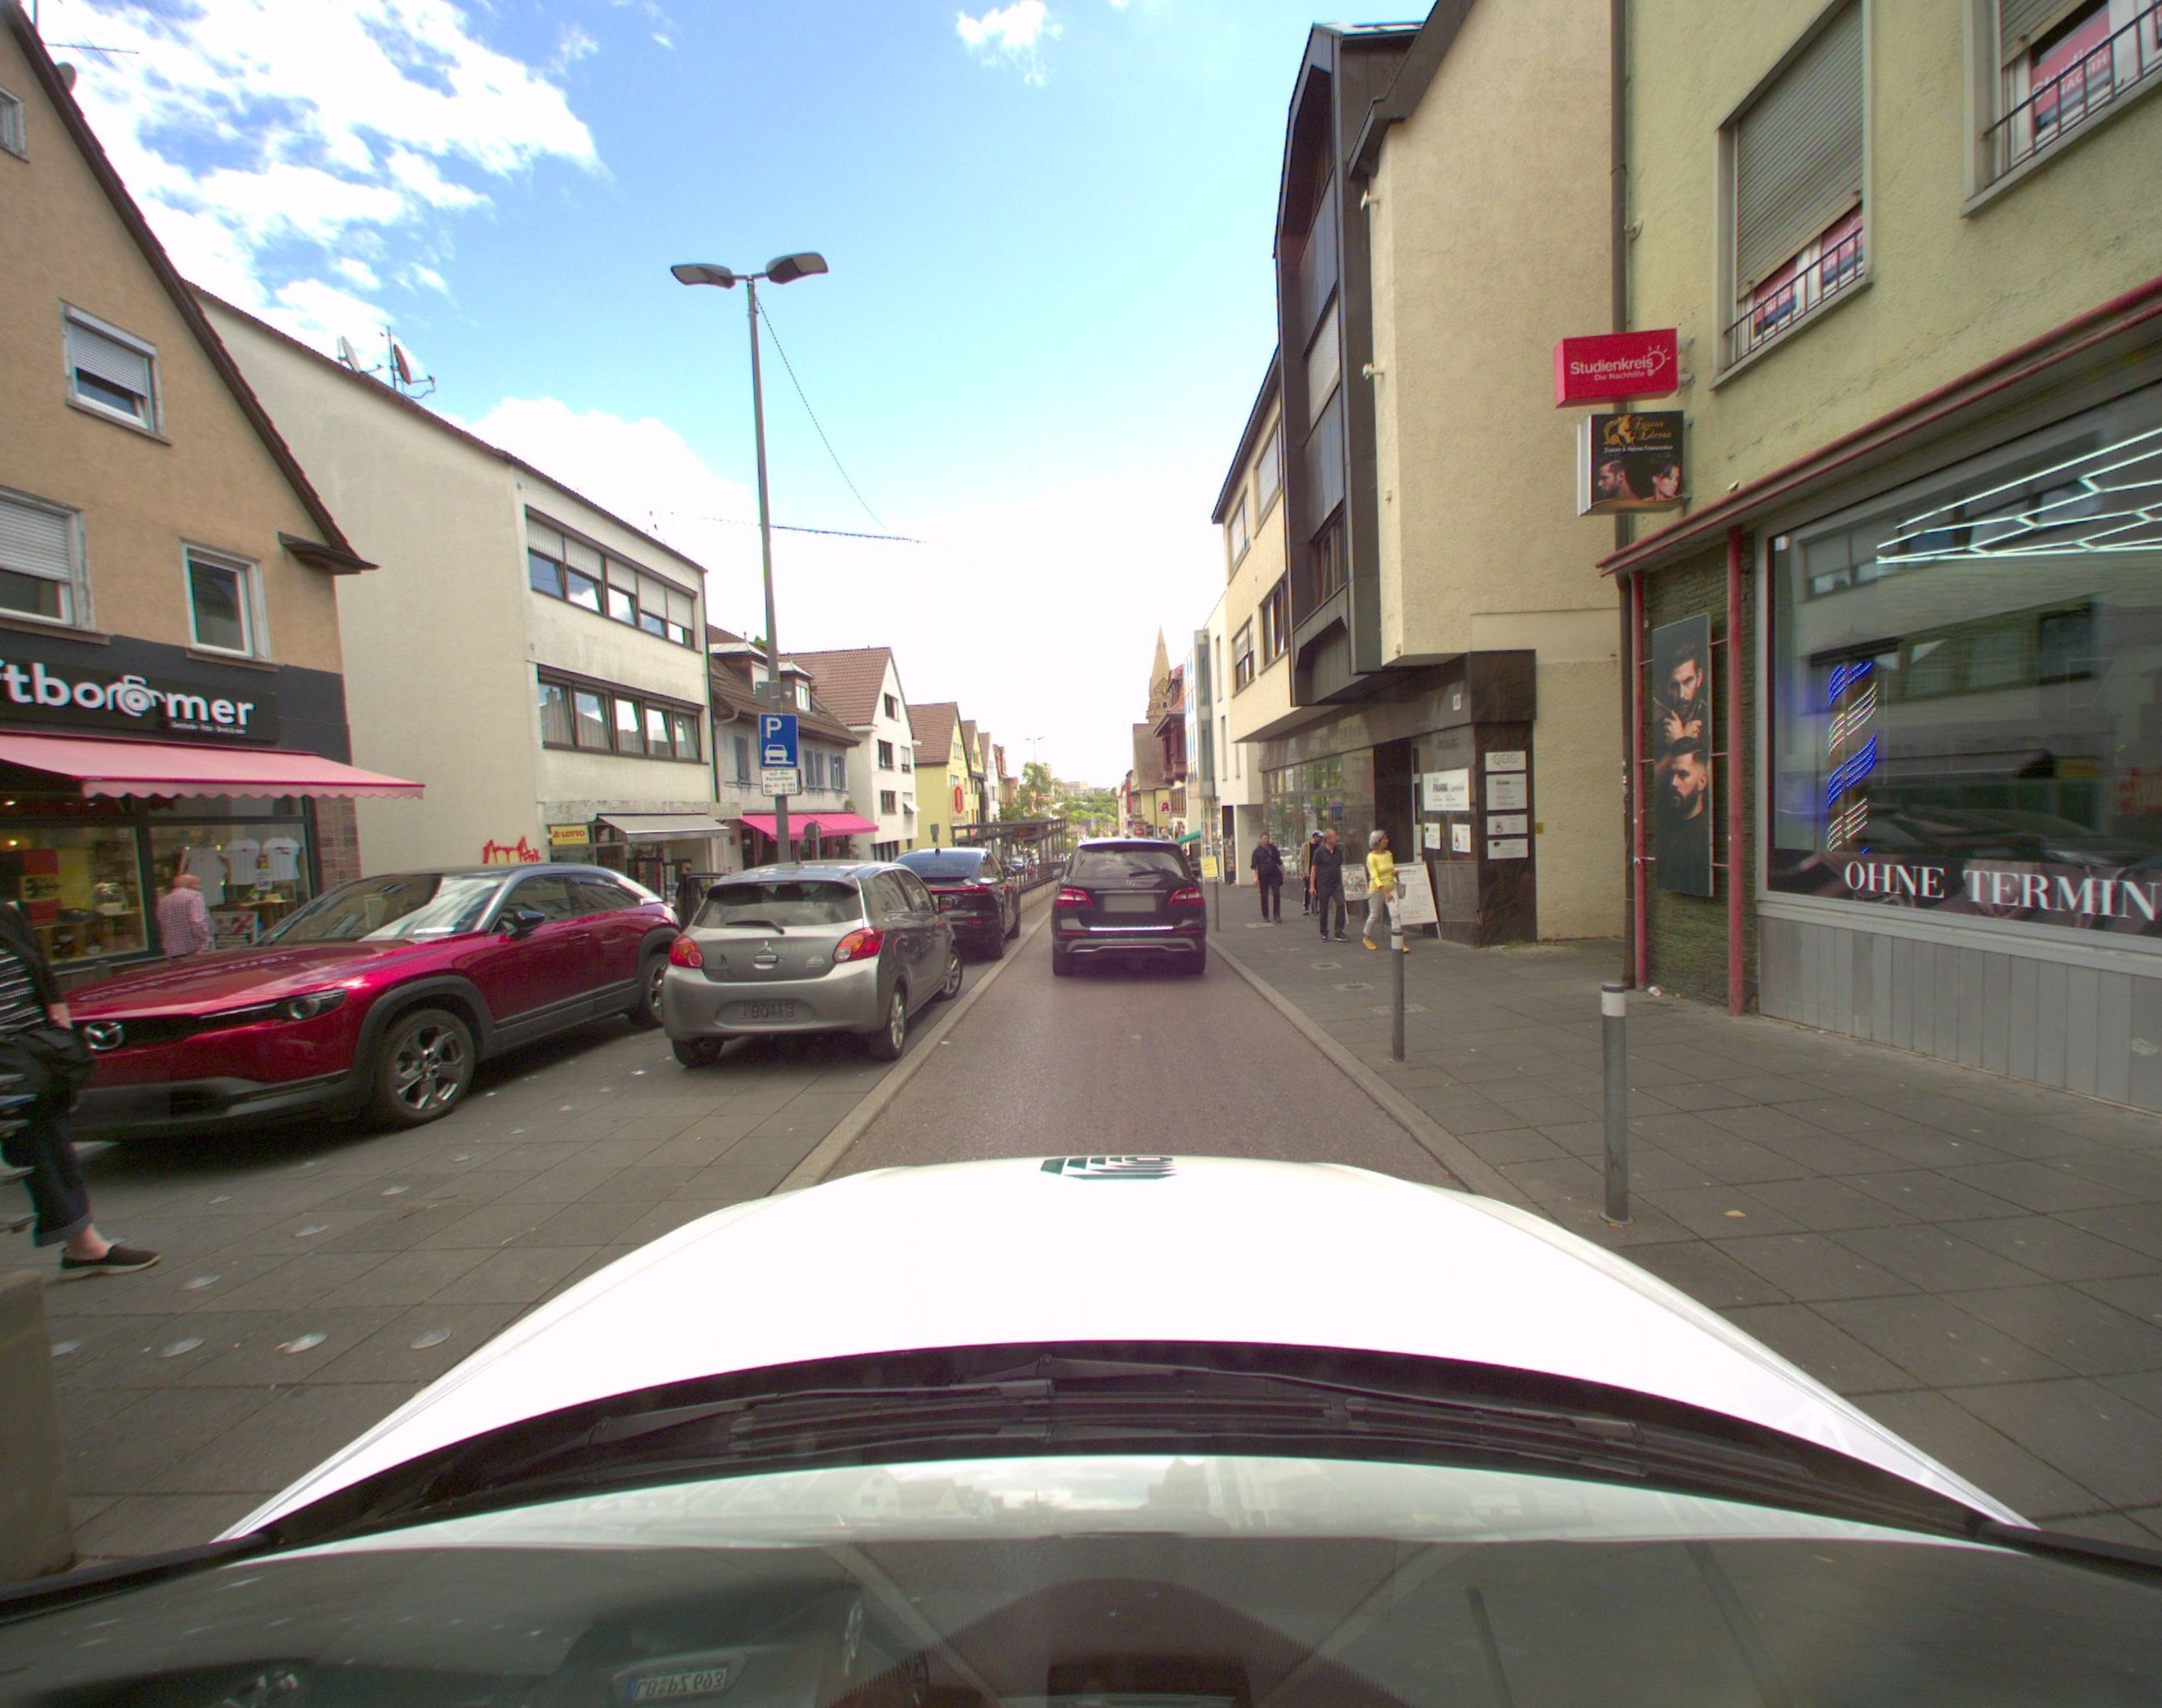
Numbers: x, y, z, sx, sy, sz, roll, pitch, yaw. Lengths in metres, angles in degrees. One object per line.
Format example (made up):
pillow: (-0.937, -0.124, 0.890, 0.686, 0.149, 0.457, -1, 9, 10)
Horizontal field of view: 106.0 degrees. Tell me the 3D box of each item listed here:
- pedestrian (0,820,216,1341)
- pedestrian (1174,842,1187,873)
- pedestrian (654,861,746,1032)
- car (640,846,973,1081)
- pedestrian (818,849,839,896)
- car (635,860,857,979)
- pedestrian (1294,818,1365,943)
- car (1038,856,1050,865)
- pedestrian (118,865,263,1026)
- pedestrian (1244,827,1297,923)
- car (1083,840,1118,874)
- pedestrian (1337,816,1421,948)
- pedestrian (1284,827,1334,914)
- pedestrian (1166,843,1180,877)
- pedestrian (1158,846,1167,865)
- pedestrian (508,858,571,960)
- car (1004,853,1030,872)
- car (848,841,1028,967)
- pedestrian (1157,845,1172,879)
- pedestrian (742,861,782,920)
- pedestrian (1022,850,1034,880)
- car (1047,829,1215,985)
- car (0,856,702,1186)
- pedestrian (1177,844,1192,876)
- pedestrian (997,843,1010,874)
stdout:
pedestrian: (-3.750, 0.732, 2.772, 0.531, 1.672, 0.902, -2, 1, 4)
pedestrian: (5.436, 0.181, 44.491, 0.572, 1.689, 0.565, -1, 0, -5)
pedestrian: (-3.386, 0.797, 7.260, 0.464, 1.431, 0.492, -5, 0, 1)
car: (-2.086, 0.725, 7.291, 1.614, 1.532, 3.671, -1, 0, 1)
pedestrian: (-9.281, 0.678, 29.957, 0.576, 1.689, 0.577, -1, 0, 1)
car: (-4.937, 0.876, 12.646, 1.732, 1.475, 3.885, -1, 0, 1)
pedestrian: (3.697, 0.374, 12.162, 0.708, 1.753, 0.785, -5, 0, 1)
car: (-4.955, 0.848, 108.985, 1.383, 1.070, 3.114, -3, 0, 2)
pedestrian: (-9.909, 0.983, 9.093, 0.636, 1.689, 0.828, -2, 0, 3)
pedestrian: (3.615, 0.390, 15.590, 0.708, 1.753, 0.787, -5, 0, 1)
car: (1.045, 0.139, 44.261, 1.764, 1.713, 4.001, -1, 0, 1)
pedestrian: (3.934, 0.359, 10.801, 0.708, 1.631, 0.835, -5, 0, 1)
pedestrian: (4.617, 0.328, 16.529, 0.662, 1.688, 0.542, -6, 0, -5)
pedestrian: (4.770, 0.314, 42.173, 0.541, 1.726, 0.527, -3, 0, -5)
pedestrian: (7.200, 0.140, 71.915, 0.604, 1.688, 0.724, -3, 0, 1)
pedestrian: (-9.415, 0.941, 14.159, 0.638, 1.689, 0.670, -2, 1, 41)
car: (-5.385, 0.693, 69.132, 1.683, 1.490, 3.981, -1, 0, 2)
car: (-2.036, 0.654, 12.959, 1.949, 1.639, 4.316, -1, 0, 1)
pedestrian: (4.159, 0.391, 40.800, 0.620, 1.689, 0.565, -1, 0, -5)
pedestrian: (-8.705, 0.983, 22.229, 0.662, 1.539, 0.946, -2, 0, -1)
pedestrian: (-2.947, 0.611, 45.616, 0.624, 1.689, 0.678, -1, 0, -4)
car: (0.571, 0.601, 11.334, 1.894, 1.747, 3.999, -1, 0, 0)
car: (-4.728, 0.822, 6.055, 1.732, 1.543, 4.194, -1, 0, 1)
pedestrian: (5.551, 0.324, 43.567, 0.572, 1.689, 0.565, -4, 0, -5)
pedestrian: (-4.361, 0.259, 45.877, 0.608, 1.689, 0.565, -1, 0, 10)
